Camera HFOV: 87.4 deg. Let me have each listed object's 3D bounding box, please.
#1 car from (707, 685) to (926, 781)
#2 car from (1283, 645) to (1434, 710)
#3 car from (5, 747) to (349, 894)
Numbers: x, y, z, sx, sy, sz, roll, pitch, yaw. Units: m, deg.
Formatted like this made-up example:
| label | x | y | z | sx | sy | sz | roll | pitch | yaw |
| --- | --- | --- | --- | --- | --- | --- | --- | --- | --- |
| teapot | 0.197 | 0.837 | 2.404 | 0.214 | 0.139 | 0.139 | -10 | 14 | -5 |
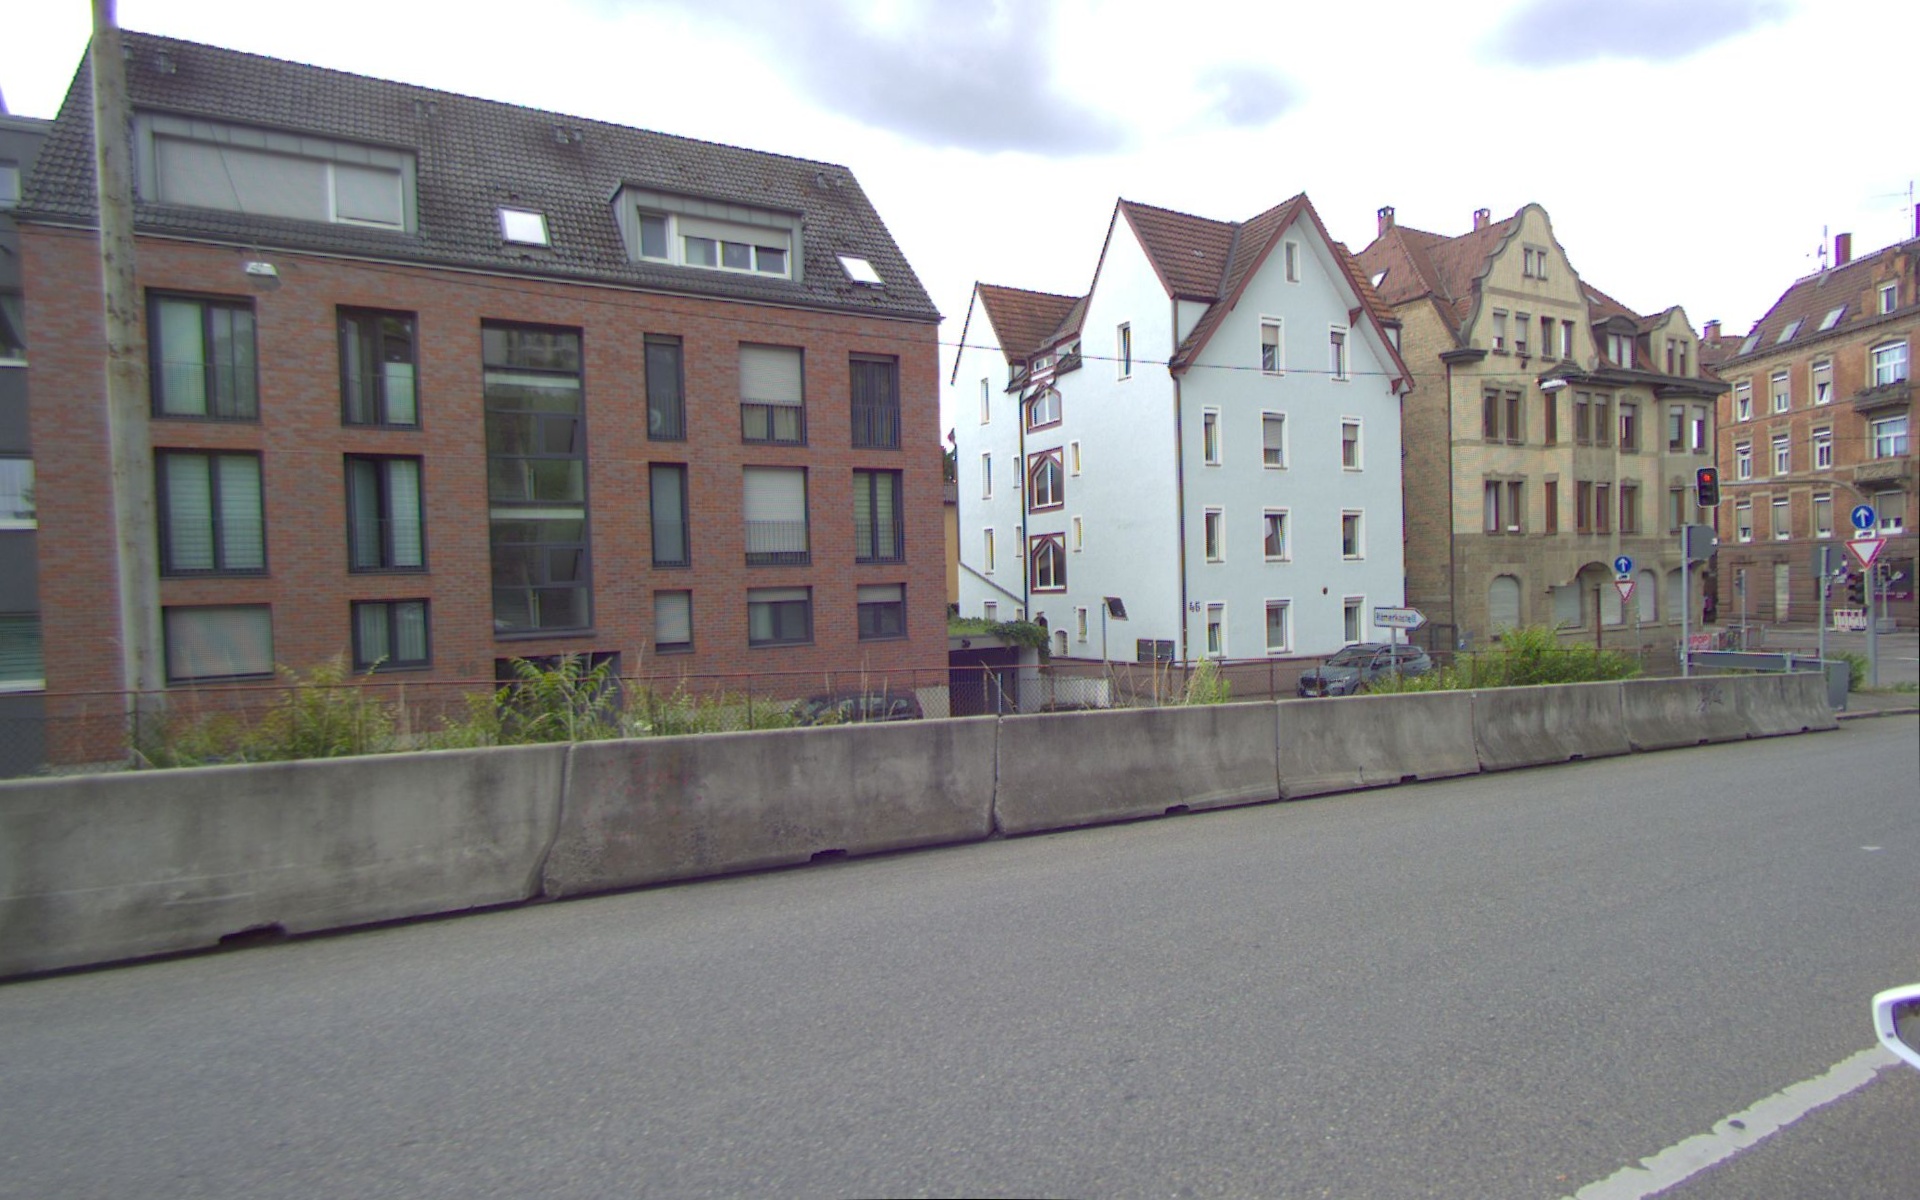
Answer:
| label | x | y | z | sx | sy | sz | roll | pitch | yaw |
| --- | --- | --- | --- | --- | --- | --- | --- | --- | --- |
| car | -2.964 | 2.685 | 20.915 | 4.162 | 1.629 | 1.788 | 0 | -3 | -28 |
| car | 11.197 | 2.119 | 28.205 | 3.950 | 1.629 | 1.788 | 0 | -3 | -28 |
| car | -11.940 | 3.318 | 15.709 | 3.950 | 1.629 | 1.788 | 0 | -3 | -28 |
